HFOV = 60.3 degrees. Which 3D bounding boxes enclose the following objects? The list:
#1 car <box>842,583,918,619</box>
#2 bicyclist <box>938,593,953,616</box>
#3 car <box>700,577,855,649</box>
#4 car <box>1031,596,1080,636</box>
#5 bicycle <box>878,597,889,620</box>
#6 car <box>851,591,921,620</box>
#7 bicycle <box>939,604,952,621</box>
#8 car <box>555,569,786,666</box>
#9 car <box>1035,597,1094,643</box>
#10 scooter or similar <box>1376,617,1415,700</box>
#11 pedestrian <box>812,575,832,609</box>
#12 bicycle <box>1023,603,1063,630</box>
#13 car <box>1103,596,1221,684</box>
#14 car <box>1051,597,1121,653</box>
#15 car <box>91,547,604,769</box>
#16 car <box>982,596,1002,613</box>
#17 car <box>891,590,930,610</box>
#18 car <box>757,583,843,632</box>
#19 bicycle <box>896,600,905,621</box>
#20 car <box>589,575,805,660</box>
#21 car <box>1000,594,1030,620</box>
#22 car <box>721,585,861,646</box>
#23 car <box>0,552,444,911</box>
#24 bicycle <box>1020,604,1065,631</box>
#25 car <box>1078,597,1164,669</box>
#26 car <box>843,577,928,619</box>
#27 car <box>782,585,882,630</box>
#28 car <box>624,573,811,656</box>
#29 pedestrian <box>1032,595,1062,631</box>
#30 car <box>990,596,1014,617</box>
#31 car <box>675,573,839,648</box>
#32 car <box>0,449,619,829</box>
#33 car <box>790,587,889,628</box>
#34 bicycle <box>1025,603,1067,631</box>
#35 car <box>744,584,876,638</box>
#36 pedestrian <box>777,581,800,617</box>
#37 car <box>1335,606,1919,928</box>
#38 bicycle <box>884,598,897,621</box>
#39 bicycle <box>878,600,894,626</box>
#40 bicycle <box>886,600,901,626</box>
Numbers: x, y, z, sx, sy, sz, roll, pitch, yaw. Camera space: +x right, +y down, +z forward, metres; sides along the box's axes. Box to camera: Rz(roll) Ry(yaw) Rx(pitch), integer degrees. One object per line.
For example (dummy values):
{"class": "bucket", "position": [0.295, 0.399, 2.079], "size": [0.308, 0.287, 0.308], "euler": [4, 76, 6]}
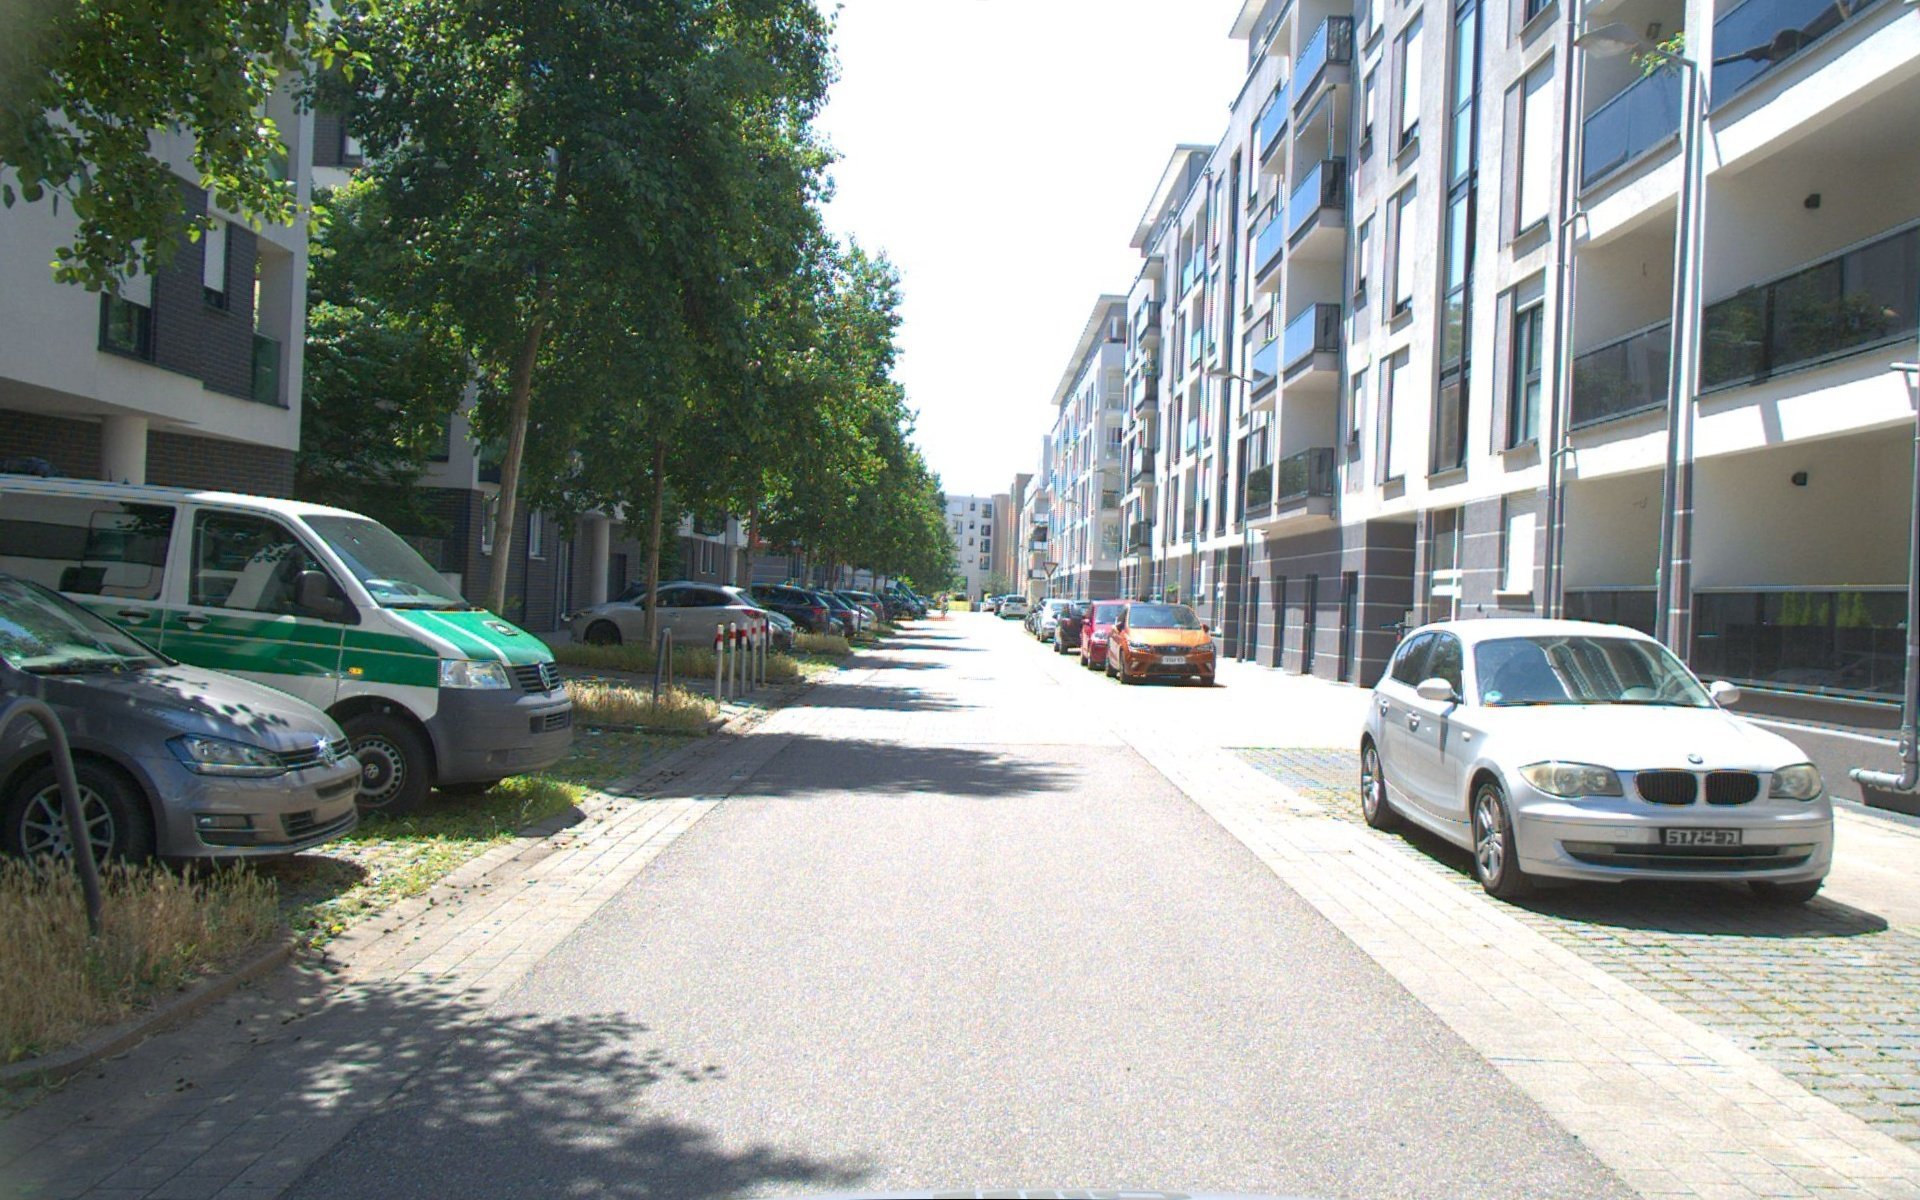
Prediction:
{"class": "car", "position": [-5.466, 0.057, 113.673], "size": [5.040, 2.156, 2.311], "euler": [3, 0, 0]}
{"class": "bicyclist", "position": [-0.989, 0.304, 111.790], "size": [0.934, 1.485, 0.799], "euler": [2, 0, -1]}
{"class": "car", "position": [-4.962, 0.340, 45.309], "size": [3.905, 1.679, 1.918], "euler": [3, 0, 2]}
{"class": "car", "position": [3.802, 0.609, 66.255], "size": [1.703, 1.511, 4.229], "euler": [1, 0, 0]}
{"class": "bicycle", "position": [-4.462, 0.490, 96.373], "size": [0.425, 1.225, 1.700], "euler": [3, 1, 1]}
{"class": "car", "position": [-4.731, 0.343, 106.488], "size": [4.294, 1.541, 2.075], "euler": [4, 0, 0]}
{"class": "bicycle", "position": [-0.981, 0.833, 111.842], "size": [0.880, 1.149, 2.040], "euler": [2, 0, -1]}
{"class": "car", "position": [-5.682, 0.335, 32.864], "size": [4.166, 1.544, 1.924], "euler": [4, 0, -1]}
{"class": "car", "position": [3.620, 0.678, 57.935], "size": [1.796, 1.531, 4.350], "euler": [1, 0, 0]}
{"class": "scooter or similar", "position": [6.957, 0.920, 26.452], "size": [0.534, 1.247, 1.530], "euler": [3, 0, 15]}
{"class": "pedestrian", "position": [-8.379, -0.469, 100.270], "size": [0.988, 2.049, 1.130], "euler": [2, 0, 3]}
{"class": "bicycle", "position": [3.763, 0.749, 74.949], "size": [1.821, 1.214, 0.687], "euler": [1, 0, 3]}
{"class": "car", "position": [3.744, 0.697, 31.243], "size": [1.702, 1.513, 4.258], "euler": [1, 0, 0]}
{"class": "car", "position": [3.506, 0.657, 46.547], "size": [1.609, 1.488, 4.117], "euler": [0, 0, 0]}
{"class": "car", "position": [-4.958, 0.455, 13.757], "size": [3.550, 1.507, 1.678], "euler": [4, 0, -1]}
{"class": "car", "position": [3.542, 0.473, 182.359], "size": [1.953, 1.704, 3.999], "euler": [2, 0, -1]}
{"class": "car", "position": [-5.306, 0.002, 177.945], "size": [3.902, 2.049, 2.001], "euler": [2, 0, 6]}
{"class": "car", "position": [-5.828, 0.272, 60.385], "size": [2.874, 1.526, 1.848], "euler": [5, 0, -1]}
{"class": "bicycle", "position": [-3.461, 0.612, 96.587], "size": [0.456, 1.161, 1.925], "euler": [2, 0, -2]}
{"class": "car", "position": [-5.558, 0.361, 35.311], "size": [4.229, 1.501, 1.793], "euler": [4, 0, 0]}
{"class": "car", "position": [3.747, 0.458, 113.698], "size": [1.956, 1.686, 4.115], "euler": [1, 0, 1]}
{"class": "car", "position": [-4.855, 0.445, 47.953], "size": [3.896, 1.470, 1.774], "euler": [4, 0, -4]}
{"class": "car", "position": [-5.031, 0.518, 8.123], "size": [4.331, 1.515, 1.999], "euler": [2, 0, -2]}
{"class": "bicycle", "position": [3.644, 0.766, 72.951], "size": [1.882, 1.153, 0.609], "euler": [1, 0, 9]}
{"class": "car", "position": [3.542, 0.692, 36.777], "size": [1.562, 1.511, 3.675], "euler": [0, 0, 0]}
{"class": "car", "position": [-5.329, -0.154, 119.105], "size": [5.900, 2.865, 2.605], "euler": [1, 0, 0]}
{"class": "car", "position": [-5.198, 0.303, 67.549], "size": [3.858, 1.580, 1.872], "euler": [4, 0, -1]}
{"class": "car", "position": [-5.501, 0.318, 37.872], "size": [3.905, 1.619, 1.884], "euler": [4, 0, 0]}
{"class": "pedestrian", "position": [3.792, 0.565, 72.130], "size": [1.157, 1.541, 0.686], "euler": [1, 0, -10]}
{"class": "car", "position": [3.413, 0.530, 133.806], "size": [1.721, 1.579, 4.002], "euler": [3, 0, 3]}
{"class": "car", "position": [-5.205, 0.270, 42.783], "size": [3.906, 1.657, 1.933], "euler": [4, 0, 0]}
{"class": "car", "position": [-5.158, 0.191, 10.965], "size": [5.231, 2.147, 2.188], "euler": [2, 0, 2]}
{"class": "car", "position": [-5.103, 0.334, 70.445], "size": [4.098, 1.512, 1.957], "euler": [3, -1, -4]}
{"class": "bicycle", "position": [3.775, 0.743, 72.586], "size": [1.806, 1.168, 0.458], "euler": [1, 0, -19]}
{"class": "car", "position": [-4.948, 0.370, 54.969], "size": [4.273, 1.740, 1.999], "euler": [0, 0, -3]}
{"class": "pedestrian", "position": [-8.356, -0.041, 80.676], "size": [0.979, 1.720, 0.832], "euler": [2, 0, 2]}
{"class": "car", "position": [3.682, 0.801, 10.072], "size": [1.808, 1.441, 4.426], "euler": [2, 0, 1]}
{"class": "bicycle", "position": [-4.038, 0.537, 96.368], "size": [0.559, 1.194, 1.766], "euler": [5, 1, -7]}
{"class": "bicycle", "position": [-3.494, 0.609, 77.856], "size": [0.426, 1.147, 1.973], "euler": [1, 0, -12]}
{"class": "bicycle", "position": [-3.139, 0.591, 77.885], "size": [0.364, 1.201, 1.815], "euler": [1, 0, -12]}
